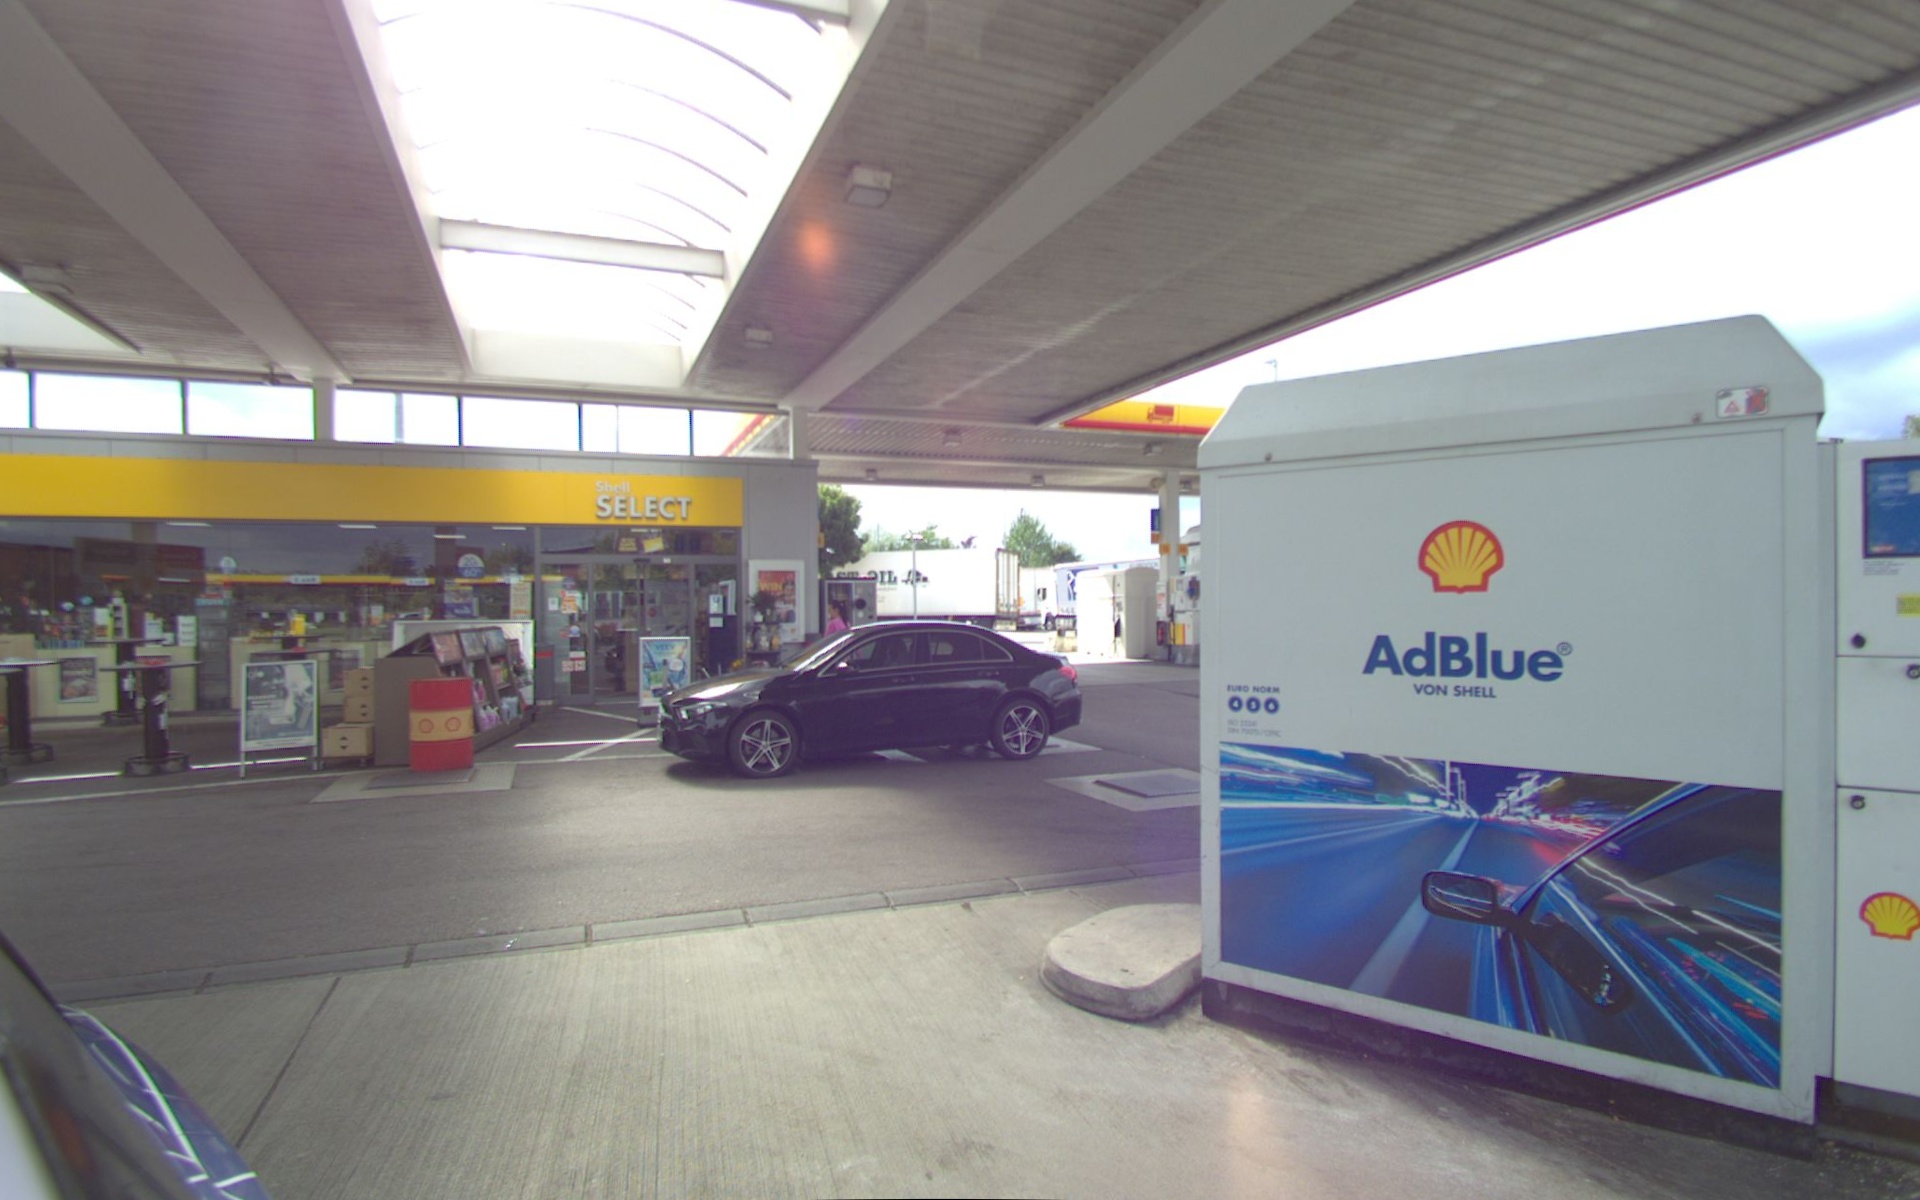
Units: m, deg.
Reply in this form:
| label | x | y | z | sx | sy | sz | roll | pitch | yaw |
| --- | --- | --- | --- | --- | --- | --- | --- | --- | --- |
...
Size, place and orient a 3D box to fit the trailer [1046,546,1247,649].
| label | x | y | z | sx | sy | sz | roll | pitch | yaw |
| --- | --- | --- | --- | --- | --- | --- | --- | --- | --- |
| trailer | 9.109 | -0.101 | 52.662 | 3.294 | 4.600 | 14.397 | -1 | 0 | -20 |

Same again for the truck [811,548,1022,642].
| label | x | y | z | sx | sy | sz | roll | pitch | yaw |
| --- | --- | --- | --- | --- | --- | --- | --- | --- | --- |
| truck | -2.099 | -0.182 | 46.828 | 9.536 | 4.036 | 2.772 | -1 | 0 | 25 |

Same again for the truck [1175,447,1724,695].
| label | x | y | z | sx | sy | sz | roll | pitch | yaw |
| --- | --- | --- | --- | --- | --- | --- | --- | --- | --- |
| truck | 9.659 | -0.467 | 23.090 | 2.491 | 4.069 | 12.947 | -1 | 0 | -22 |

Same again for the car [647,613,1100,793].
| label | x | y | z | sx | sy | sz | roll | pitch | yaw |
| --- | --- | --- | --- | --- | --- | --- | --- | --- | --- |
| car | -0.914 | 0.939 | 10.640 | 4.394 | 1.511 | 1.785 | -1 | 0 | -21 |

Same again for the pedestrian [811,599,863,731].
| label | x | y | z | sx | sy | sz | roll | pitch | yaw |
| --- | --- | --- | --- | --- | --- | --- | --- | --- | --- |
| pedestrian | -1.662 | 0.850 | 13.599 | 0.612 | 1.726 | 0.629 | -1 | 0 | -12 |

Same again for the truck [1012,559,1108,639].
| label | x | y | z | sx | sy | sz | roll | pitch | yaw |
| --- | --- | --- | --- | --- | --- | --- | --- | --- | --- |
| truck | 5.932 | -0.050 | 61.210 | 3.333 | 4.538 | 6.249 | -1 | 0 | -20 |
